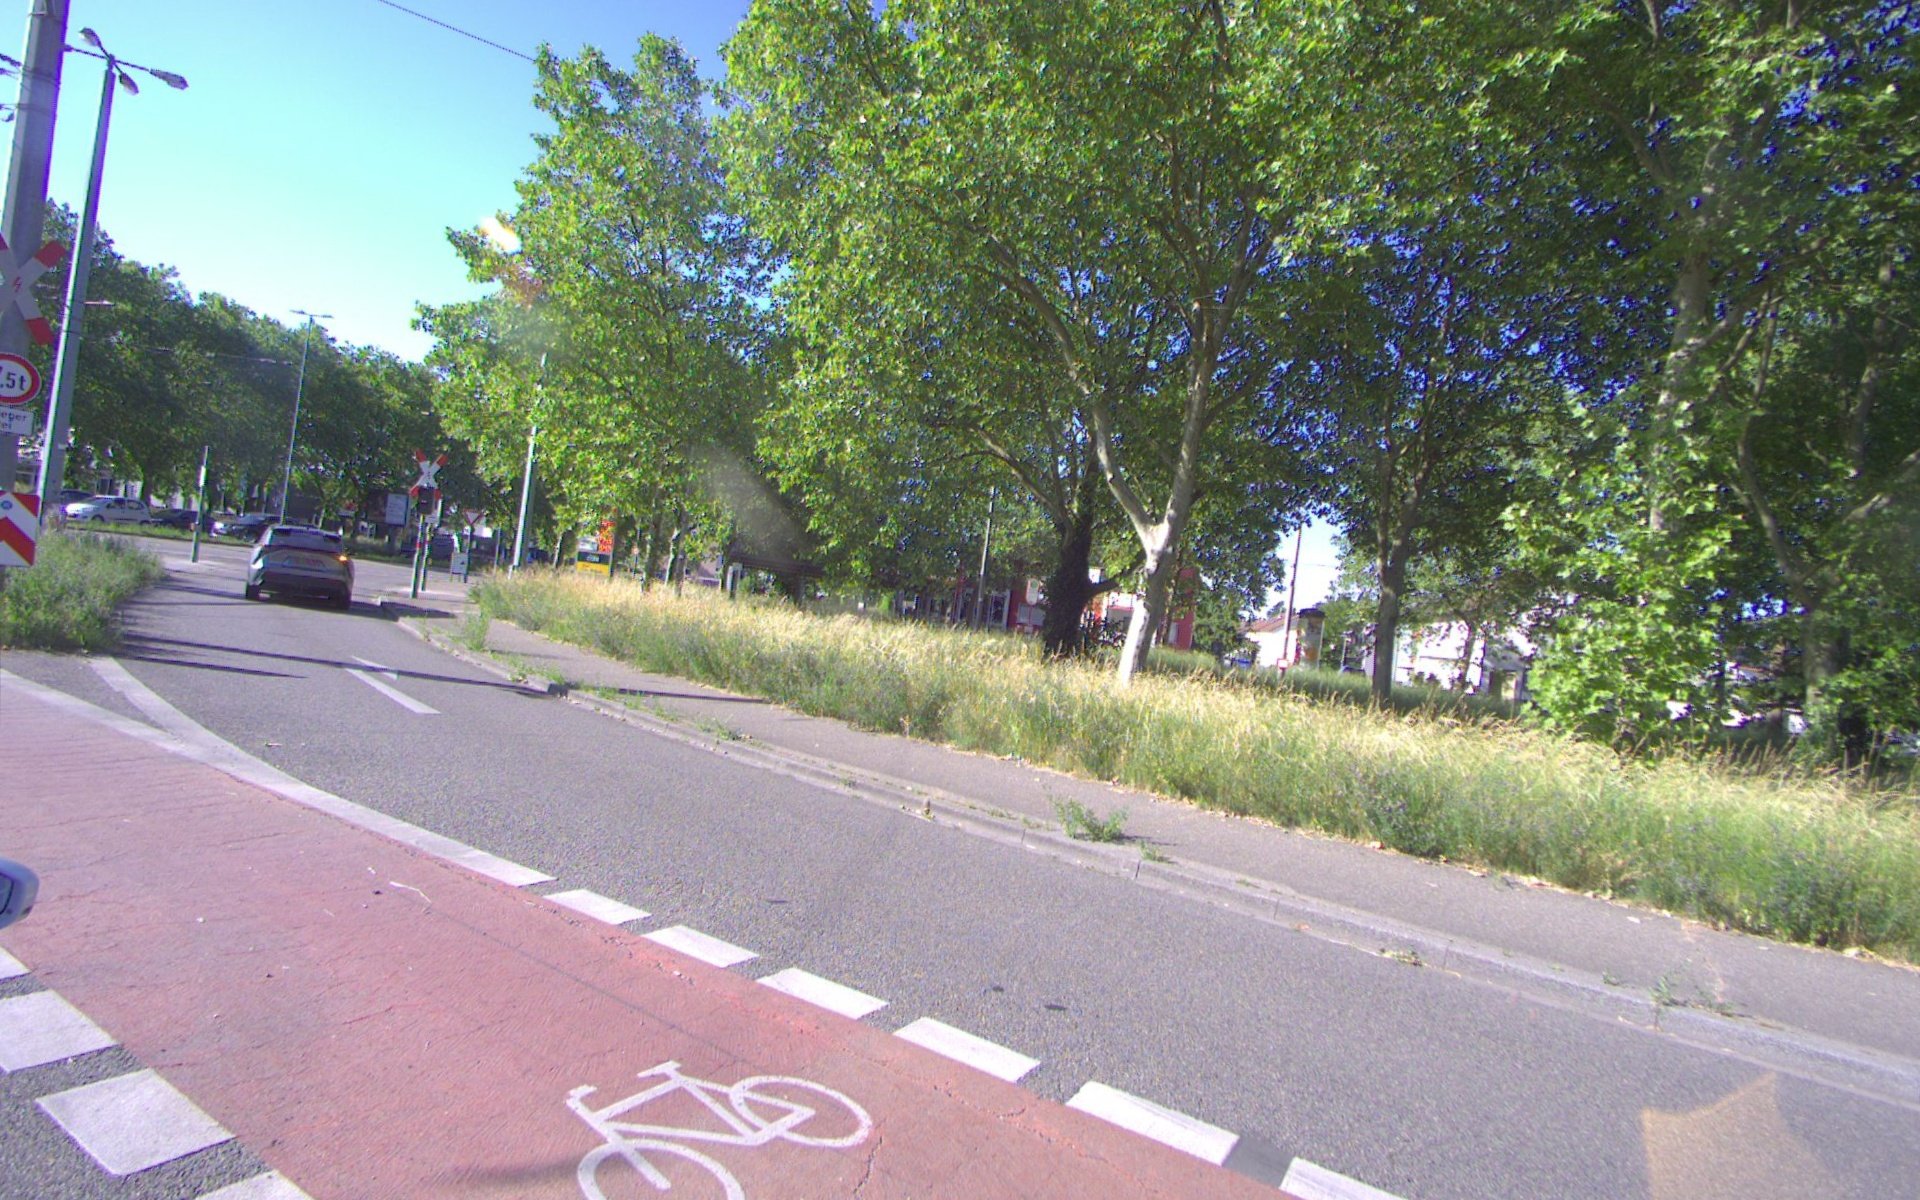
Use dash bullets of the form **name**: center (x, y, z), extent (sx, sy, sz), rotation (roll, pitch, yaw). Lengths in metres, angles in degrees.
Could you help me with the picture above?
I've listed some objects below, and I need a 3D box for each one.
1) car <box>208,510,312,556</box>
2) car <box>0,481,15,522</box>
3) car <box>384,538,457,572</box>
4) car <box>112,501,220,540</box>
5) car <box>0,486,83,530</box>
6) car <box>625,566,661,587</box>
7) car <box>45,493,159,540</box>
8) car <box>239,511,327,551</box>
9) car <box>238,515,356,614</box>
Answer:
- **car**: center (-35.998, -3.391, 51.877), extent (1.885, 1.732, 4.497), rotation (7, -1, 4)
- **car**: center (-41.090, -4.283, 40.523), extent (1.782, 1.620, 4.093), rotation (7, -1, 7)
- **car**: center (-43.829, -3.633, 81.896), extent (2.090, 2.095, 5.123), rotation (8, -1, 15)
- **car**: center (-43.304, -4.291, 55.031), extent (1.898, 1.425, 4.572), rotation (7, -1, 5)
- **car**: center (-44.394, -4.415, 47.886), extent (1.681, 1.620, 3.861), rotation (7, -1, 3)
- **car**: center (-32.020, -2.359, 101.717), extent (1.962, 1.637, 4.002), rotation (7, -1, 5)
- **car**: center (-40.568, -3.917, 47.701), extent (1.680, 1.620, 3.862), rotation (7, -1, 7)
- **car**: center (-42.185, -4.261, 62.827), extent (1.873, 1.701, 4.781), rotation (7, -2, 4)
- **car**: center (-14.374, -0.803, 21.746), extent (1.812, 1.724, 3.736), rotation (9, -1, -36)
